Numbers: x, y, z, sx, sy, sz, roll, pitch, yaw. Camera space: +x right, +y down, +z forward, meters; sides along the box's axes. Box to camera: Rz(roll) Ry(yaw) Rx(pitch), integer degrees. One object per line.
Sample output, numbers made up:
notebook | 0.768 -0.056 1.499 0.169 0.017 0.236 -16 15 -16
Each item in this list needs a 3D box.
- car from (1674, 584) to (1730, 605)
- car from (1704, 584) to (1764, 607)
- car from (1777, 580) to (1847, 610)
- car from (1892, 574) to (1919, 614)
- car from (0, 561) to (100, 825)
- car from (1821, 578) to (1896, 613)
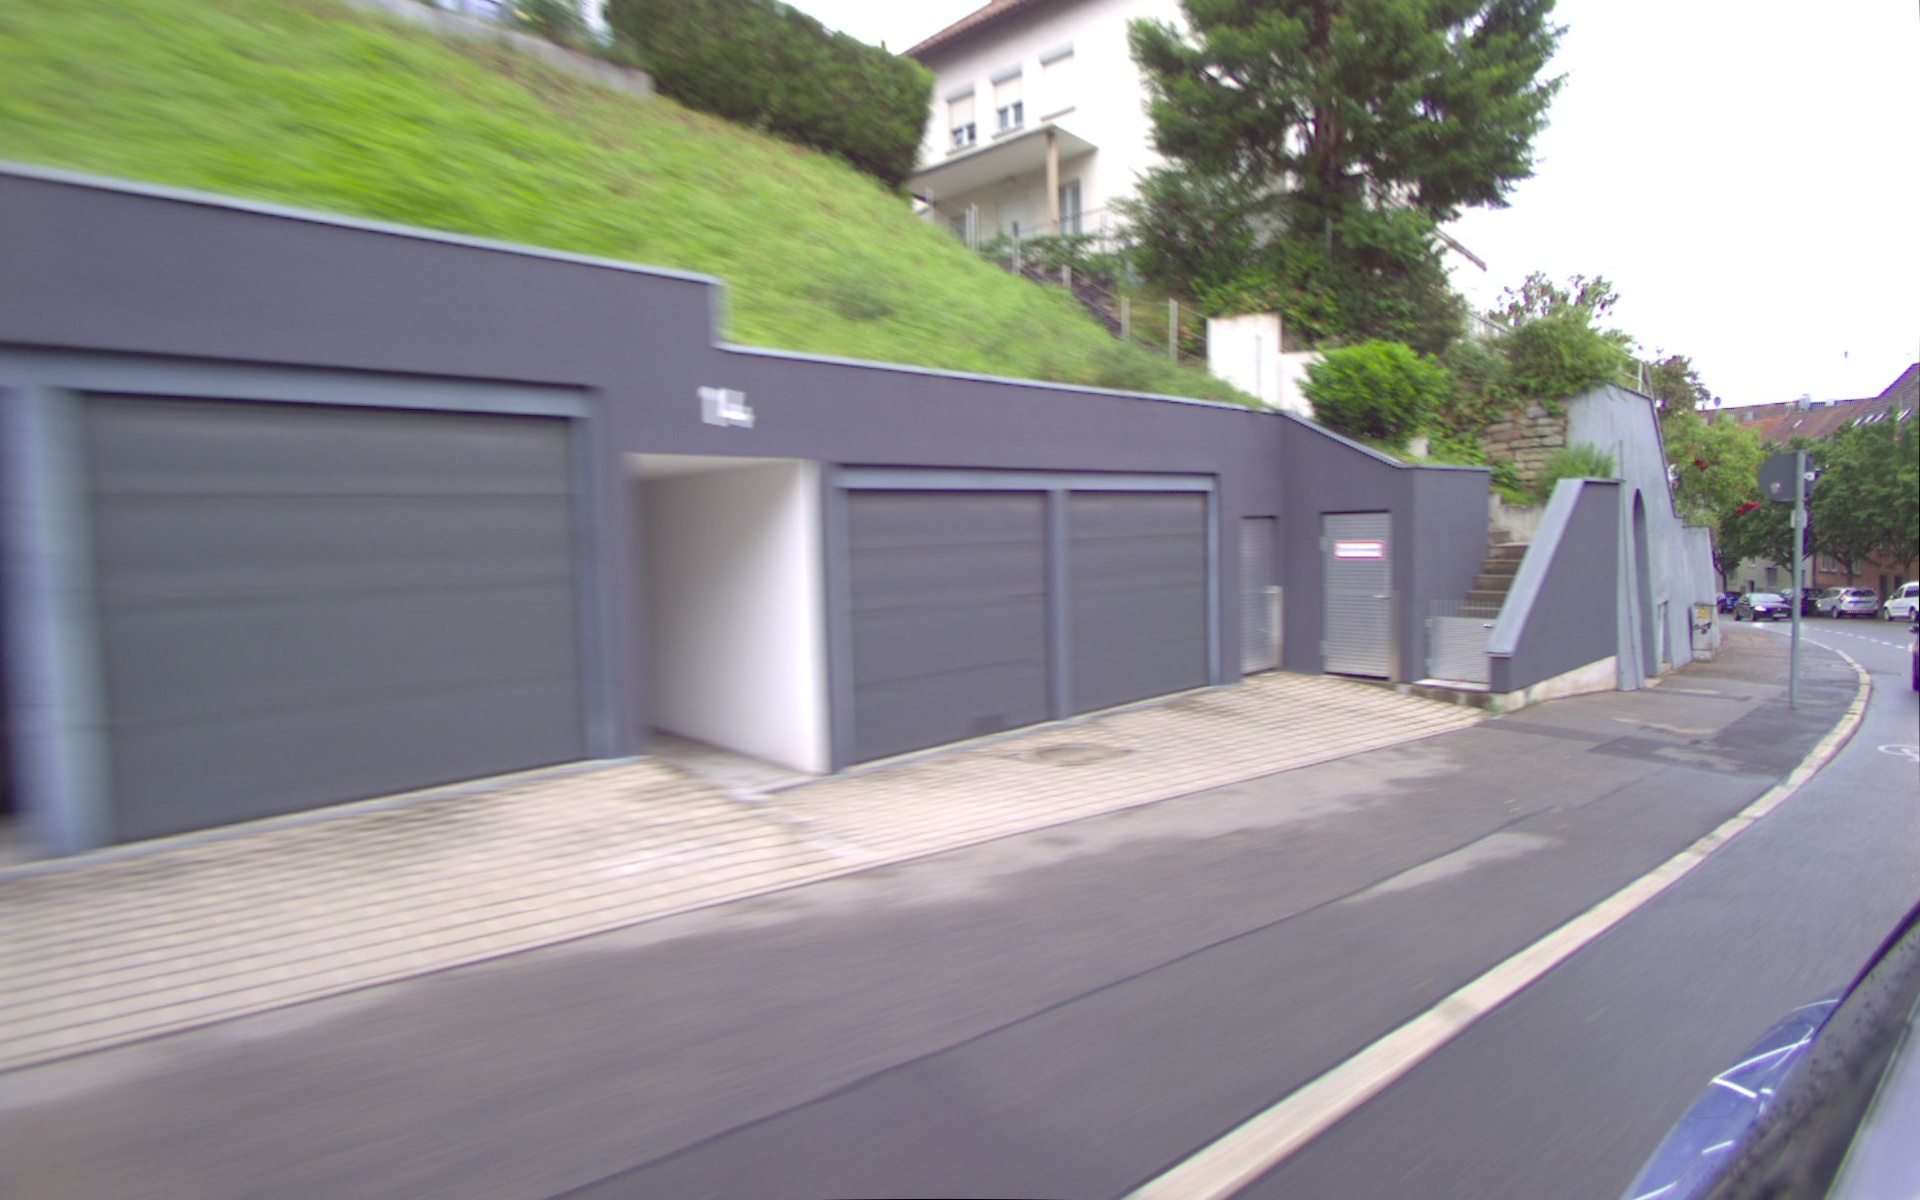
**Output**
car | 54.792 -0.394 74.843 1.766 1.512 4.343 -1 0 13
car | 53.285 -0.302 69.774 1.769 1.512 4.833 -1 0 18
car | 49.571 -0.312 58.967 1.772 1.662 4.447 -1 0 22
car | 44.020 -0.287 45.547 1.841 1.799 4.442 -1 0 26
car | -6.593 0.579 6.098 1.624 1.438 3.695 -4 0 -33
car | 47.565 -0.252 53.669 1.734 1.711 4.560 -1 0 25
